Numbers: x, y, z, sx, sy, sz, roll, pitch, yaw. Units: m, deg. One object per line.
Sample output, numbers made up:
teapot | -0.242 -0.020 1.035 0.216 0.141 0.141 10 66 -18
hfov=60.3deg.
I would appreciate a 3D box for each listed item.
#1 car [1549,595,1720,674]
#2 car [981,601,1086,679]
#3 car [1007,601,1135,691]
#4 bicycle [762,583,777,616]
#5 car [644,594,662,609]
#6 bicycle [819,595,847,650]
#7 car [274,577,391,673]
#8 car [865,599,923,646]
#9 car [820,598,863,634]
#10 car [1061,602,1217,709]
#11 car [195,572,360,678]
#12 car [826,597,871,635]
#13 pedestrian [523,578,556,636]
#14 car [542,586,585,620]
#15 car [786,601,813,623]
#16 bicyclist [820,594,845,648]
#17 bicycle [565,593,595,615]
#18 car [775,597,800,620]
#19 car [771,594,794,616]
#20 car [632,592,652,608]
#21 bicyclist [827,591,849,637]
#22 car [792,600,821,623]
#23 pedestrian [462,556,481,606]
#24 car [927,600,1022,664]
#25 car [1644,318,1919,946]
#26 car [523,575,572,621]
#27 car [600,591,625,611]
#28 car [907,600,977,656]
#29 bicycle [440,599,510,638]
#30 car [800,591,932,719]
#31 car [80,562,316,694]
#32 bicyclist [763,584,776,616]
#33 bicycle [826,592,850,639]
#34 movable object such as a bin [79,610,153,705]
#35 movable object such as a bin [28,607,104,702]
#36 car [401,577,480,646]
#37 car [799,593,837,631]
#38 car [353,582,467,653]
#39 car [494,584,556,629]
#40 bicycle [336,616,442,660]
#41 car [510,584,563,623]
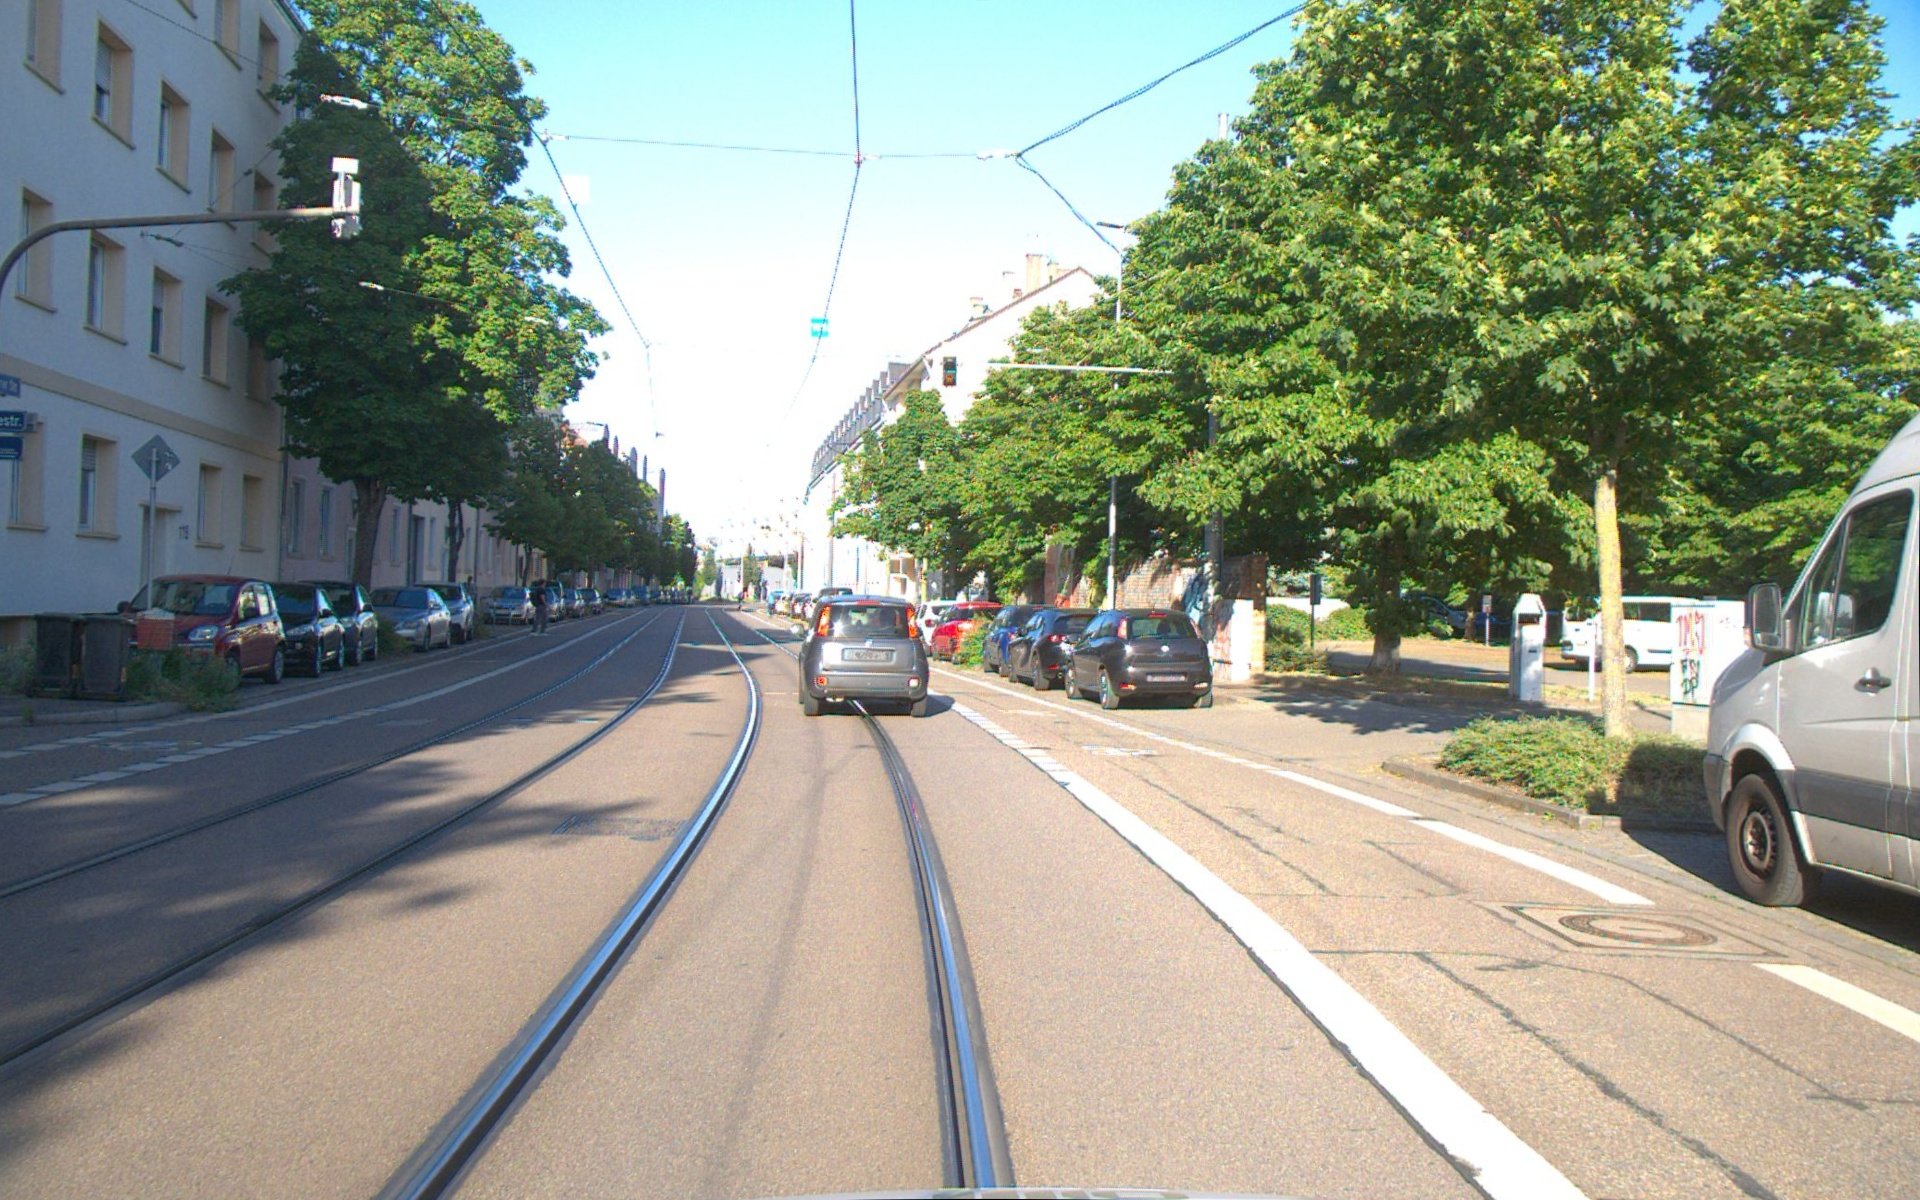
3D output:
car | 18.069 0.921 44.397 3.836 1.893 1.803 3 -1 -10
car | 1.519 0.811 35.461 1.656 1.557 3.995 1 0 -6
car | 1.999 0.809 30.894 1.656 1.557 4.349 1 0 -6
bicycle | -12.333 -0.030 107.072 0.728 2.049 2.805 3 0 -10
car | -33.122 0.124 178.587 1.675 1.523 3.714 3 0 -8
bicycle | -4.346 0.751 56.313 0.663 1.777 2.152 3 -1 -10
car | -11.942 0.444 31.657 1.564 1.642 3.718 3 0 -14
car | -2.323 0.757 57.541 1.605 1.535 3.390 0 0 -9
car | -5.762 0.773 79.980 1.625 1.598 3.867 3 0 -10
car | 2.750 0.820 26.245 1.656 1.557 3.995 1 0 -6
car | -11.249 0.389 27.509 1.755 1.556 3.847 3 0 -12
car | -5.116 0.729 75.644 1.625 1.598 3.491 3 0 -10
pedestrian | -13.269 0.220 52.231 0.840 1.808 0.728 1 1 -29
car | -20.449 0.142 85.320 1.775 1.648 4.055 3 0 -9
car | -11.400 0.814 117.198 1.554 1.430 3.368 3 0 -10
bicyclist | -4.361 0.703 56.384 0.686 1.790 0.756 3 -1 -10
bicycle | -22.463 0.223 97.839 1.699 1.217 0.371 3 -1 -13
car | -12.904 0.637 123.963 1.554 1.627 3.368 3 0 -10
car | -14.050 0.420 130.917 1.554 1.627 3.368 3 0 -10
car | -31.307 -0.020 162.909 1.675 1.523 3.714 3 0 -8
bicyclist | -4.786 0.543 64.764 0.686 1.790 0.756 3 -1 -10
car | -9.845 0.731 105.969 1.554 1.430 3.368 -1 0 -10
pedestrian | -18.547 -0.724 62.813 0.526 1.858 0.541 3 -1 -10
car | 0.327 0.789 42.654 1.659 1.557 3.988 1 0 -12
car | 5.218 0.135 6.889 2.136 2.712 6.089 0 0 -1
car | -19.423 -0.092 78.052 1.775 1.977 4.324 3 0 -9
car | -28.277 0.061 134.546 1.675 1.523 3.714 3 0 -8
car | -0.572 0.778 47.922 1.656 1.557 3.995 1 0 -6
bicycle | -14.315 0.542 48.862 1.889 1.064 0.475 3 -1 -9
car | -1.352 0.677 22.516 1.618 1.568 4.229 0 0 -5
car | -10.440 0.362 22.980 1.656 1.556 3.995 4 -1 -6
bicyclist | -12.324 -0.004 107.063 0.702 2.049 0.829 3 -1 -10
bicycle | -4.789 0.584 64.780 0.663 1.777 2.152 3 -1 -10
movable object such as a bin | -9.321 0.623 18.282 0.475 1.005 0.659 3 -1 -7
movable object such as a bin | -9.840 0.594 18.223 0.475 1.005 0.659 3 -1 -7
car | -14.037 0.291 44.864 1.623 1.697 4.281 3 0 -13
car | -7.824 0.637 90.645 1.625 1.978 4.653 3 0 -10
car | -12.995 0.393 39.323 1.657 1.501 4.651 3 0 -8
car | -16.405 0.239 62.523 1.775 1.534 4.182 3 0 -9
bicycle | -12.386 0.819 35.919 2.089 0.839 0.476 3 -1 -10
car | -18.544 0.143 72.548 1.775 1.534 4.670 3 0 -9
